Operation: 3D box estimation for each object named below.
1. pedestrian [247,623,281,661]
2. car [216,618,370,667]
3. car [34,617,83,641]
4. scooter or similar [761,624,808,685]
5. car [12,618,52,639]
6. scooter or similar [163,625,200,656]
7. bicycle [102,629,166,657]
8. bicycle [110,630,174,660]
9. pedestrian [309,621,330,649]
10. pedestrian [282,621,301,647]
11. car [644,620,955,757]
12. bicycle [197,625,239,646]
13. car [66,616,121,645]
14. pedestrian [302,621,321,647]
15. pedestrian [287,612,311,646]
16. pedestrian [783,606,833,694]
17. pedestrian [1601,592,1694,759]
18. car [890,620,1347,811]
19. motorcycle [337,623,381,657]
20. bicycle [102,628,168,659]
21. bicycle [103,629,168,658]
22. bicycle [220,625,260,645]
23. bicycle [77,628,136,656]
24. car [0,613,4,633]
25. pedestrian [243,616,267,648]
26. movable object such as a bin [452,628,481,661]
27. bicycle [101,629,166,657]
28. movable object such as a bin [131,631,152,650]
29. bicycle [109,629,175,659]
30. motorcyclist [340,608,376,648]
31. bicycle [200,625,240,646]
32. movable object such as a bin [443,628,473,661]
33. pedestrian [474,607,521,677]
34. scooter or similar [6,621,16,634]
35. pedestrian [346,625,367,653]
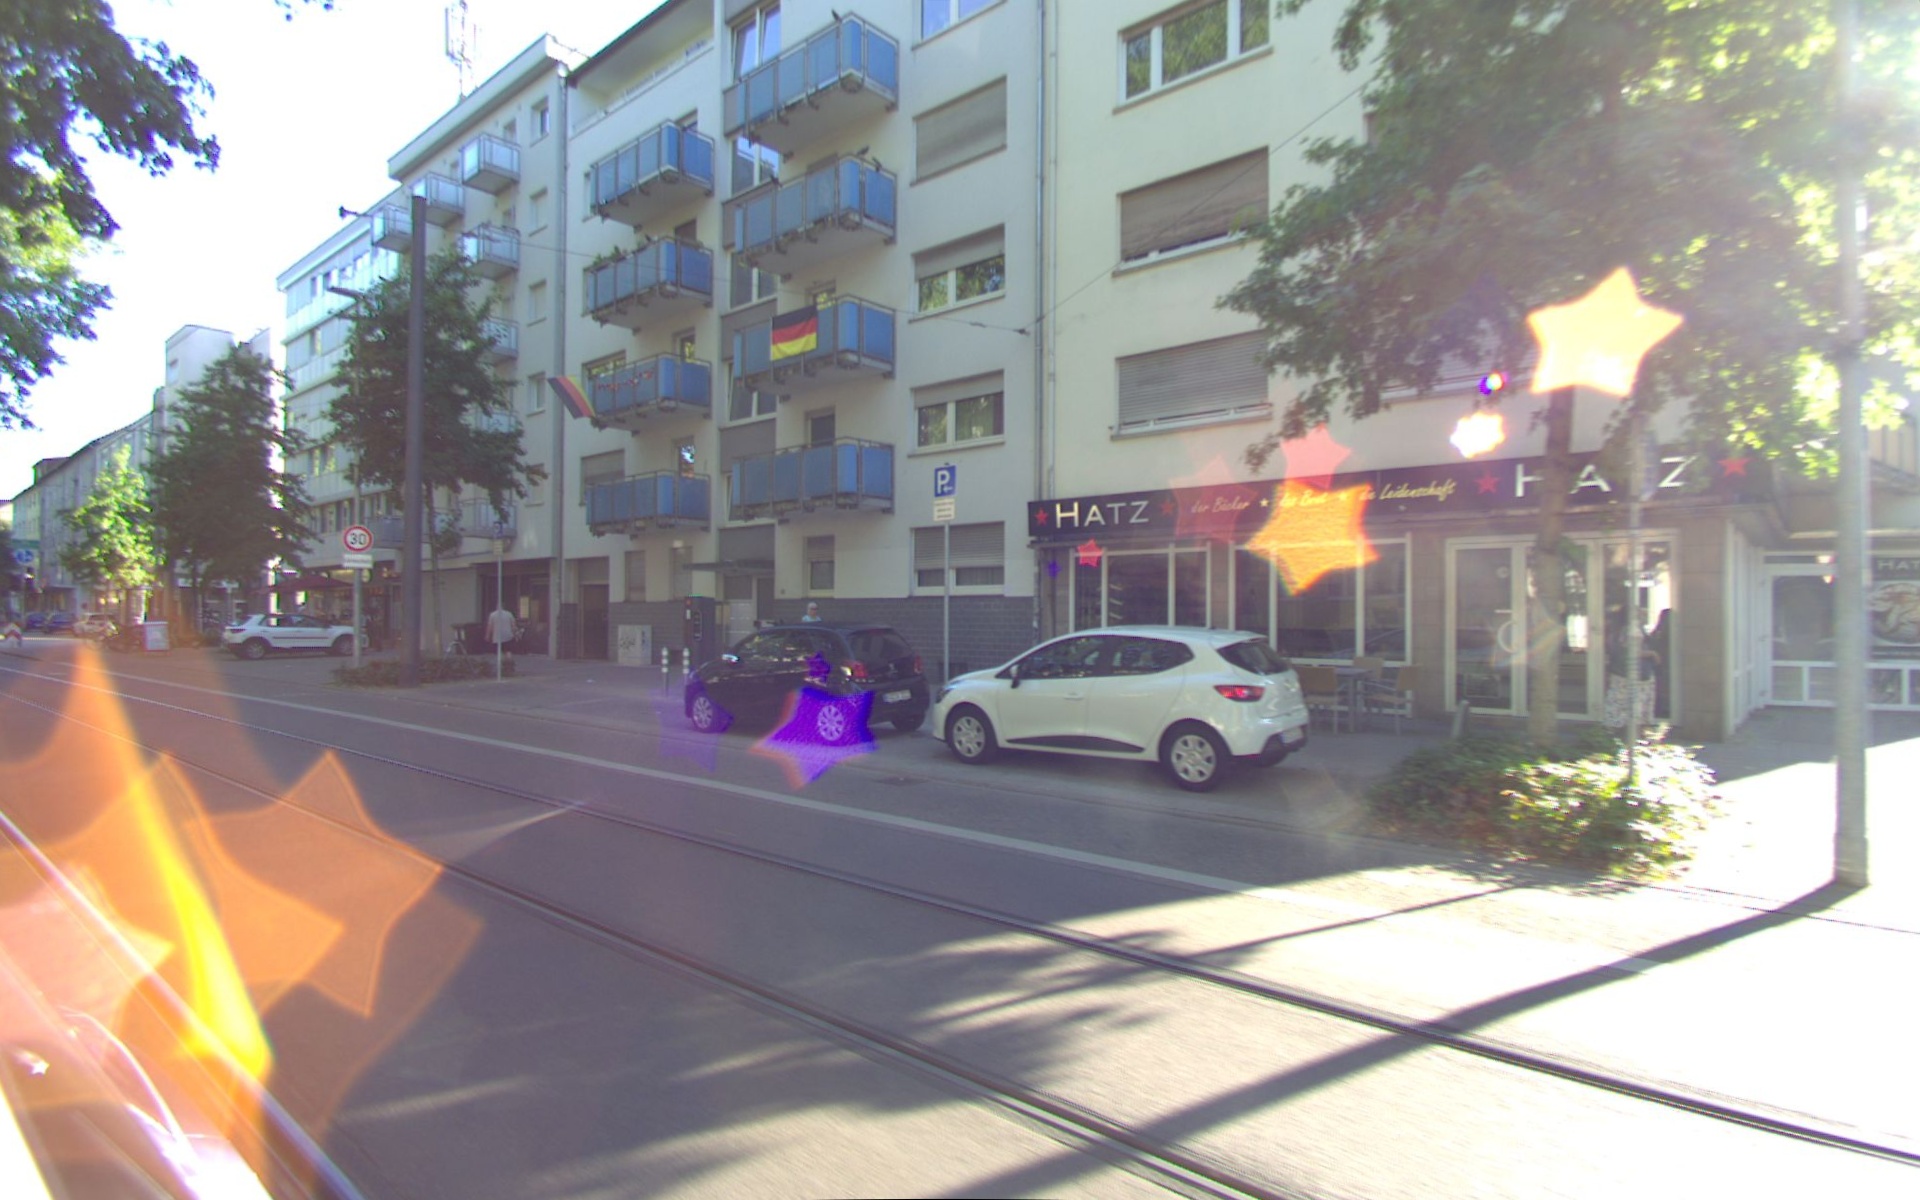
[{"bbox_3d":[-24.567,1.473,35.738,0.744,1.307,0.708,-1,-2,27],"label":"pedestrian"},{"bbox_3d":[-22.055,1.356,33.541,1.852,1.486,3.968,0,-1,44],"label":"car"},{"bbox_3d":[-61.212,1.961,68.717,4.387,1.556,1.935,-1,-3,42],"label":"car"},{"bbox_3d":[-3.854,1.181,22.191,0.370,1.299,1.238,4,-4,-41],"label":"scooter or similar"},{"bbox_3d":[-69.723,2.132,76.032,4.280,1.475,1.775,-1,-3,42],"label":"car"},{"bbox_3d":[-30.574,1.578,39.748,0.498,1.185,1.068,0,0,40],"label":"scooter or similar"},{"bbox_3d":[-31.805,1.641,38.983,0.657,1.015,1.812,0,-1,36],"label":"bicycle"},{"bbox_3d":[-29.357,1.602,36.356,0.657,1.015,1.675,0,-1,36],"label":"bicycle"},{"bbox_3d":[-27.519,1.491,43.473,0.558,1.207,0.511,0,-2,12],"label":"pedestrian"},{"bbox_3d":[-30.447,1.550,46.100,0.560,1.207,0.509,0,-2,25],"label":"pedestrian"},{"bbox_3d":[-2.193,1.051,13.416,3.990,1.475,1.699,-1,2,35],"label":"car"},{"bbox_3d":[-42.633,2.027,58.164,1.837,1.165,0.572,2,-2,-45],"label":"bicycle"},{"bbox_3d":[-52.061,1.793,60.803,4.355,1.663,1.859,-1,0,41],"label":"car"},{"bbox_3d":[-29.727,1.561,46.394,0.507,1.207,0.562,0,-2,6],"label":"pedestrian"},{"bbox_3d":[-32.934,1.426,50.399,0.748,1.672,0.759,-1,-2,36],"label":"pedestrian"},{"bbox_3d":[-3.016,0.973,20.089,0.748,1.704,0.657,-1,-2,40],"label":"pedestrian"},{"bbox_3d":[7.331,0.777,10.789,0.748,1.704,0.657,-1,-2,40],"label":"pedestrian"},{"bbox_3d":[1.483,1.001,10.416,4.370,1.475,1.697,-1,2,38],"label":"car"},{"bbox_3d":[-21.798,1.433,36.670,1.915,1.173,0.840,-1,-2,43],"label":"motorcycle"},{"bbox_3d":[-30.875,1.612,37.909,0.657,1.072,1.812,0,-1,36],"label":"bicycle"},{"bbox_3d":[-31.073,1.639,38.168,0.657,1.015,1.812,0,-1,36],"label":"bicycle"},{"bbox_3d":[-41.368,2.017,58.186,1.759,1.165,0.574,1,-2,-18],"label":"bicycle"},{"bbox_3d":[-33.310,1.624,39.504,0.657,1.015,1.675,0,-1,36],"label":"bicycle"},{"bbox_3d":[-94.696,2.241,98.578,4.046,1.949,1.785,-1,-2,40],"label":"car"},{"bbox_3d":[-35.105,1.597,50.385,0.767,1.568,0.718,-1,-2,36],"label":"pedestrian"},{"bbox_3d":[-15.994,1.427,32.781,0.574,1.063,0.665,-1,-3,43],"label":"movable object such as a bin"},{"bbox_3d":[-31.535,1.617,38.622,0.657,1.015,1.812,0,-1,36],"label":"bicycle"},{"bbox_3d":[-39.576,1.949,48.920,0.646,0.939,0.536,0,-2,25],"label":"movable object such as a bin"},{"bbox_3d":[-30.224,1.609,37.420,0.657,1.015,1.812,0,-1,36],"label":"bicycle"},{"bbox_3d":[-21.843,1.020,36.709,1.016,1.452,0.864,-1,-3,43],"label":"motorcyclist"},{"bbox_3d":[-42.003,2.001,57.459,1.759,1.165,0.574,1,-2,-18],"label":"bicycle"},{"bbox_3d":[-16.469,1.443,33.208,0.622,1.063,0.670,-1,-3,43],"label":"movable object such as a bin"},{"bbox_3d":[-11.436,1.022,25.030,0.794,1.704,0.756,-1,-2,40],"label":"pedestrian"},{"bbox_3d":[-86.990,2.513,92.771,1.273,1.183,0.440,-1,-2,36],"label":"scooter or similar"},{"bbox_3d":[-25.841,1.662,43.326,0.624,1.207,0.556,-1,-2,40],"label":"pedestrian"}]
